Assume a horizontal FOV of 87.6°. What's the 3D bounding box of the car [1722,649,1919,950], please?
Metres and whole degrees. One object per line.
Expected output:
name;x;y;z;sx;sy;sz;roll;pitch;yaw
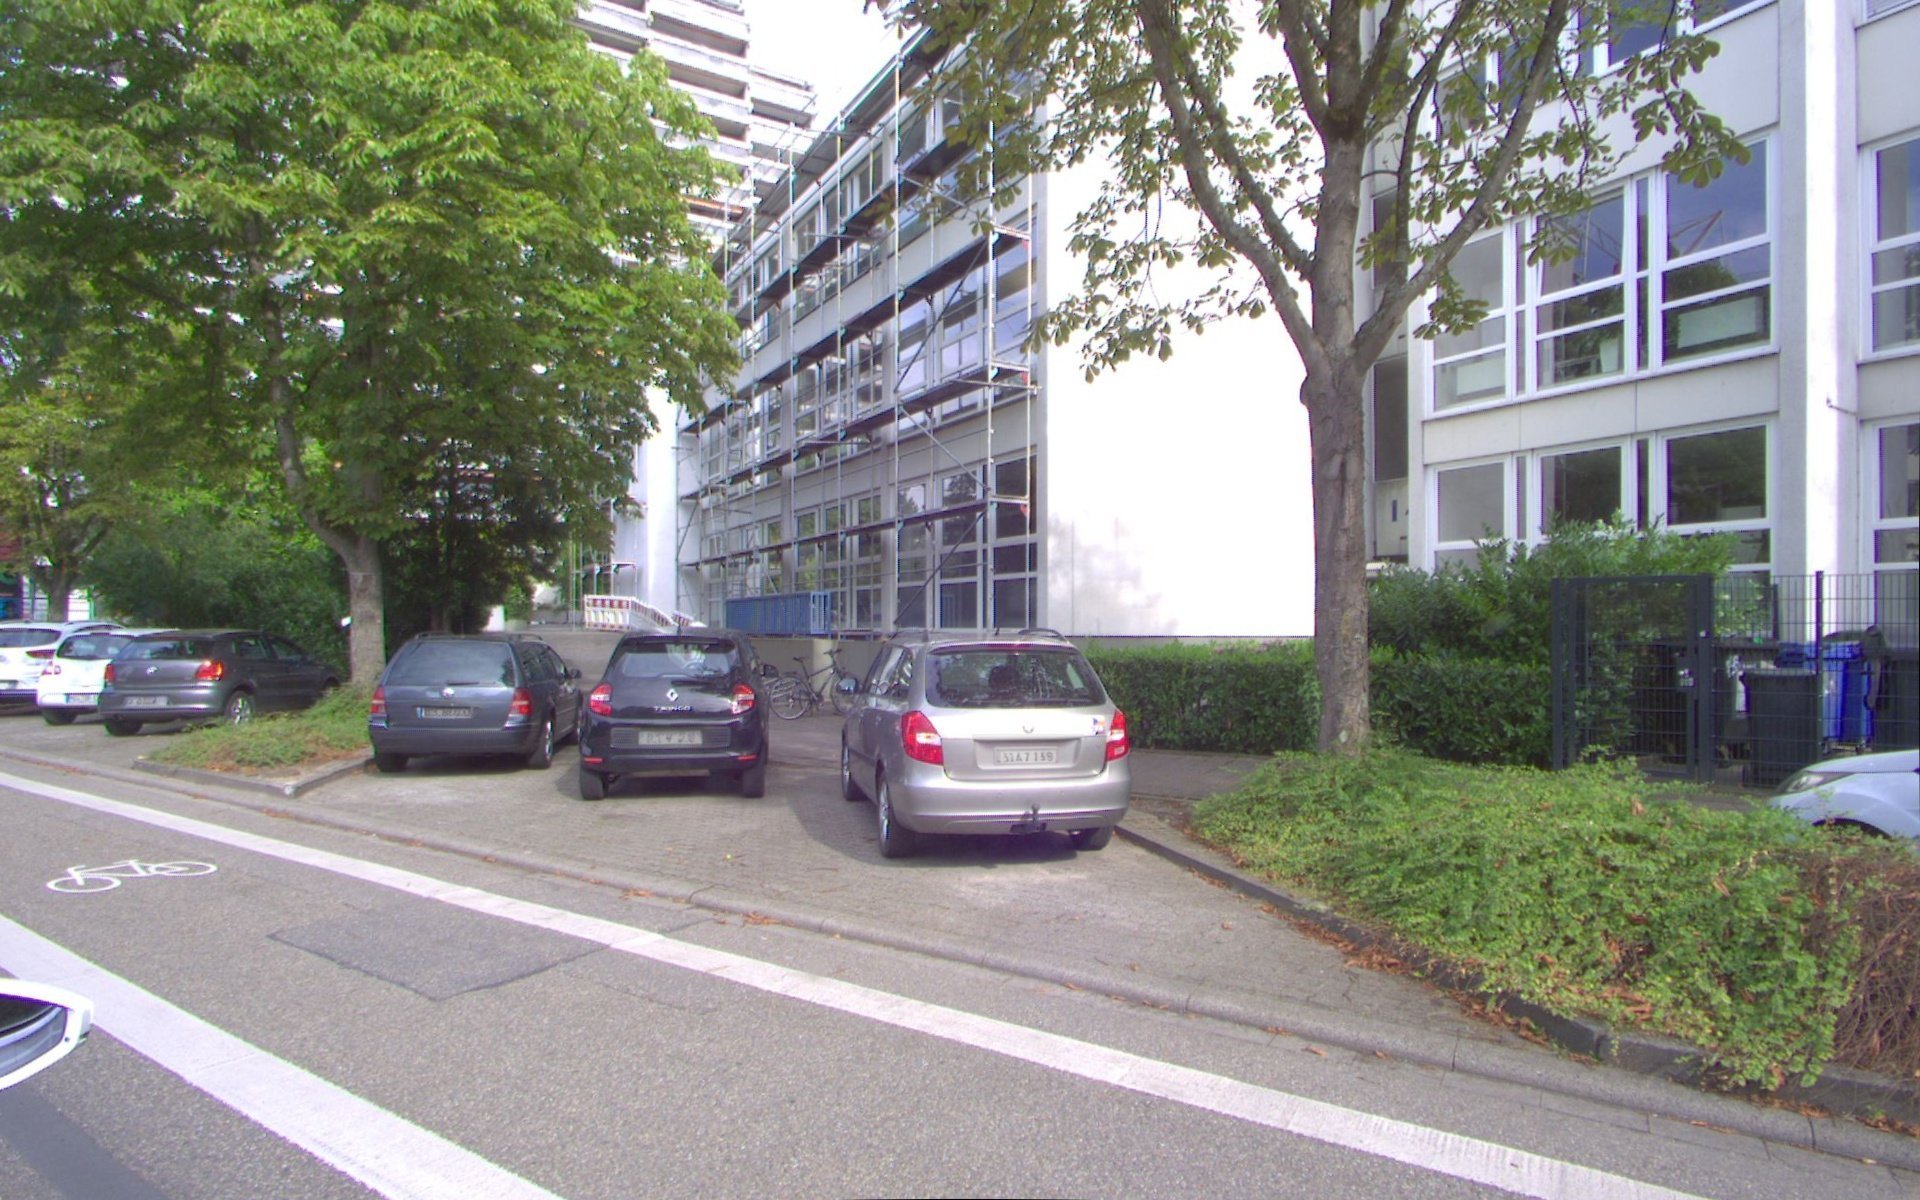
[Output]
car;5.573;0.944;4.027;1.604;1.411;3.858;1;-2;-13

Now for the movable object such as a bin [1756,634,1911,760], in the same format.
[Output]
movable object such as a bin;10.387;1.101;11.918;1.160;1.388;1.171;1;-1;-36

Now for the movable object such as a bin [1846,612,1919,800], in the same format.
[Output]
movable object such as a bin;8.603;0.890;8.574;1.397;1.549;1.322;-1;-1;37

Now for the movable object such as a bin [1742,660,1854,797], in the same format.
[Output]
movable object such as a bin;7.465;1.109;8.959;0.734;1.119;0.781;0;-1;38

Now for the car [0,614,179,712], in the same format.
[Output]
car;-16.286;1.103;18.379;1.651;1.623;3.644;0;-2;-12

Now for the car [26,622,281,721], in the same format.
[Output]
car;-13.429;1.136;16.968;1.650;1.493;3.647;0;-2;-6

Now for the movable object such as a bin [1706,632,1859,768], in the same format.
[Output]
movable object such as a bin;9.243;1.075;11.264;1.050;1.409;1.111;1;-1;-36

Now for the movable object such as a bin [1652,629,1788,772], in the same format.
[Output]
movable object such as a bin;8.081;1.022;10.651;1.012;1.425;0.906;1;-1;-36

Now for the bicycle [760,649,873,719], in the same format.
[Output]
bicycle;-2.368;1.371;16.604;1.813;1.057;0.451;0;0;-29

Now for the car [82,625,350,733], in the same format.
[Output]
car;-11.090;1.108;15.267;1.650;1.438;3.647;0;-2;-6

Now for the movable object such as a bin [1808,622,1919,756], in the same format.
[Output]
movable object such as a bin;11.570;1.076;12.579;1.160;1.588;1.171;1;-1;-36

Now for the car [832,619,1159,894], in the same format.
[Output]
car;-0.016;0.960;7.826;1.566;1.557;4.049;1;-2;-13

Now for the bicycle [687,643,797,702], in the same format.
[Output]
bicycle;-4.106;1.356;18.958;1.949;1.057;0.591;1;-1;-30

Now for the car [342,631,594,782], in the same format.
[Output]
car;-5.515;1.088;11.797;1.783;1.433;4.166;0;-2;-14

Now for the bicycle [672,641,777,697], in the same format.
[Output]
bicycle;-4.627;1.336;19.693;1.944;1.057;0.593;1;-1;-20

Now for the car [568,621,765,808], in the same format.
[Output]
car;-2.810;1.013;10.201;1.566;1.557;3.416;1;-1;-10
